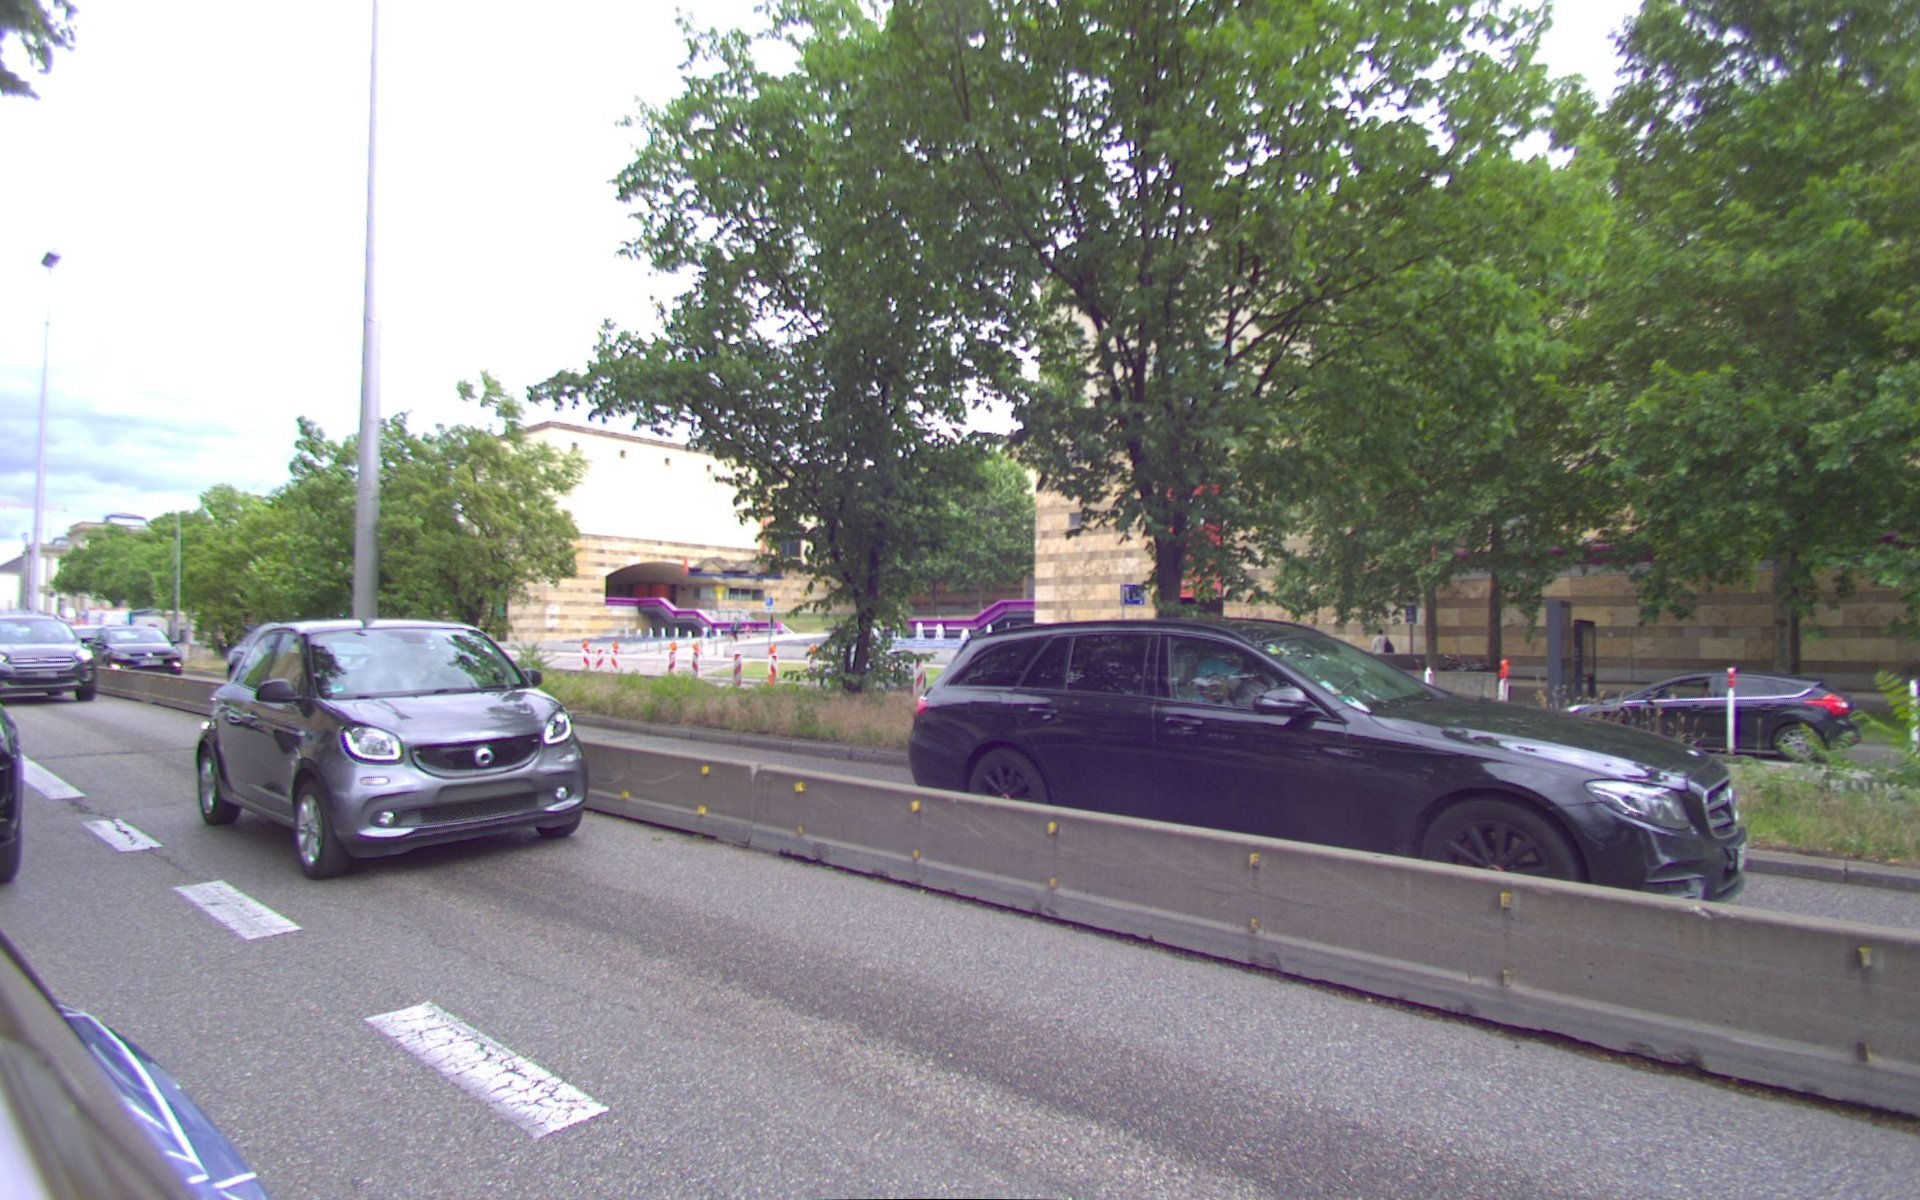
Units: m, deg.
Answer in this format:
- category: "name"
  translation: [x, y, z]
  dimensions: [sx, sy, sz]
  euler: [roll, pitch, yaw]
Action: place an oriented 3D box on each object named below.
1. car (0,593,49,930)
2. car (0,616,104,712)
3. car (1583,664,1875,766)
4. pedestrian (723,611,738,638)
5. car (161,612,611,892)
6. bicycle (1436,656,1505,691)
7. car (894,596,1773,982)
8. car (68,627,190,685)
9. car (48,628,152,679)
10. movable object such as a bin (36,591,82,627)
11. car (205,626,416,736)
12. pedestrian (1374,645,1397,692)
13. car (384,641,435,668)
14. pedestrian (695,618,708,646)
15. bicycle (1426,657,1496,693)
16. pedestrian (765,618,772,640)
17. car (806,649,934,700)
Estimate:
- category: "car"
  translation: [-6.930, 0.815, 5.546]
  dimensions: [4.189, 1.670, 1.887]
  euler: [-1, -3, 34]
- category: "car"
  translation: [-17.882, 1.158, 19.368]
  dimensions: [3.997, 1.668, 1.668]
  euler: [-1, -2, 41]
- category: "car"
  translation: [13.030, 1.871, 17.328]
  dimensions: [3.795, 1.453, 1.713]
  euler: [-2, -3, 40]
- category: "pedestrian"
  translation: [-16.206, 1.710, 71.579]
  dimensions: [0.803, 1.867, 0.684]
  euler: [-1, 0, 42]
- category: "car"
  translation: [-4.381, 0.868, 7.458]
  dimensions: [3.998, 1.516, 1.668]
  euler: [-1, -2, 41]
- category: "bicycle"
  translation: [15.881, 2.279, 31.513]
  dimensions: [0.559, 0.998, 1.847]
  euler: [0, 0, -43]
- category: "car"
  translation: [1.906, 0.795, 6.239]
  dimensions: [4.767, 1.511, 1.797]
  euler: [-1, -2, 42]
- category: "car"
  translation: [-22.806, 1.488, 27.721]
  dimensions: [4.190, 1.465, 1.644]
  euler: [-1, -2, 37]
- category: "car"
  translation: [-27.550, 1.667, 32.388]
  dimensions: [3.846, 1.518, 1.657]
  euler: [-1, -2, 36]
- category: "movable object such as a bin"
  translation: [-57.826, 0.595, 64.941]
  dimensions: [3.286, 2.202, 1.508]
  euler: [-2, -3, 36]
- category: "car"
  translation: [-11.493, 1.294, 17.766]
  dimensions: [4.935, 1.648, 1.903]
  euler: [-1, -2, 42]
- category: "pedestrian"
  translation: [14.367, 2.304, 34.160]
  dimensions: [0.620, 1.581, 0.434]
  euler: [-1, -3, 34]
- category: "car"
  translation: [-33.353, 3.271, 61.257]
  dimensions: [1.626, 1.538, 4.527]
  euler: [2, -3, -43]
- category: "pedestrian"
  translation: [-17.486, 2.168, 68.483]
  dimensions: [0.684, 1.867, 0.804]
  euler: [-1, 0, -3]
- category: "bicycle"
  translation: [15.356, 2.283, 31.056]
  dimensions: [0.483, 1.002, 1.847]
  euler: [0, 0, -43]
- category: "pedestrian"
  translation: [-14.105, 2.129, 74.537]
  dimensions: [0.405, 1.623, 0.343]
  euler: [-1, -1, 42]
- category: "car"
  translation: [-2.902, 2.321, 32.186]
  dimensions: [3.998, 1.469, 1.829]
  euler: [-2, -3, 41]
